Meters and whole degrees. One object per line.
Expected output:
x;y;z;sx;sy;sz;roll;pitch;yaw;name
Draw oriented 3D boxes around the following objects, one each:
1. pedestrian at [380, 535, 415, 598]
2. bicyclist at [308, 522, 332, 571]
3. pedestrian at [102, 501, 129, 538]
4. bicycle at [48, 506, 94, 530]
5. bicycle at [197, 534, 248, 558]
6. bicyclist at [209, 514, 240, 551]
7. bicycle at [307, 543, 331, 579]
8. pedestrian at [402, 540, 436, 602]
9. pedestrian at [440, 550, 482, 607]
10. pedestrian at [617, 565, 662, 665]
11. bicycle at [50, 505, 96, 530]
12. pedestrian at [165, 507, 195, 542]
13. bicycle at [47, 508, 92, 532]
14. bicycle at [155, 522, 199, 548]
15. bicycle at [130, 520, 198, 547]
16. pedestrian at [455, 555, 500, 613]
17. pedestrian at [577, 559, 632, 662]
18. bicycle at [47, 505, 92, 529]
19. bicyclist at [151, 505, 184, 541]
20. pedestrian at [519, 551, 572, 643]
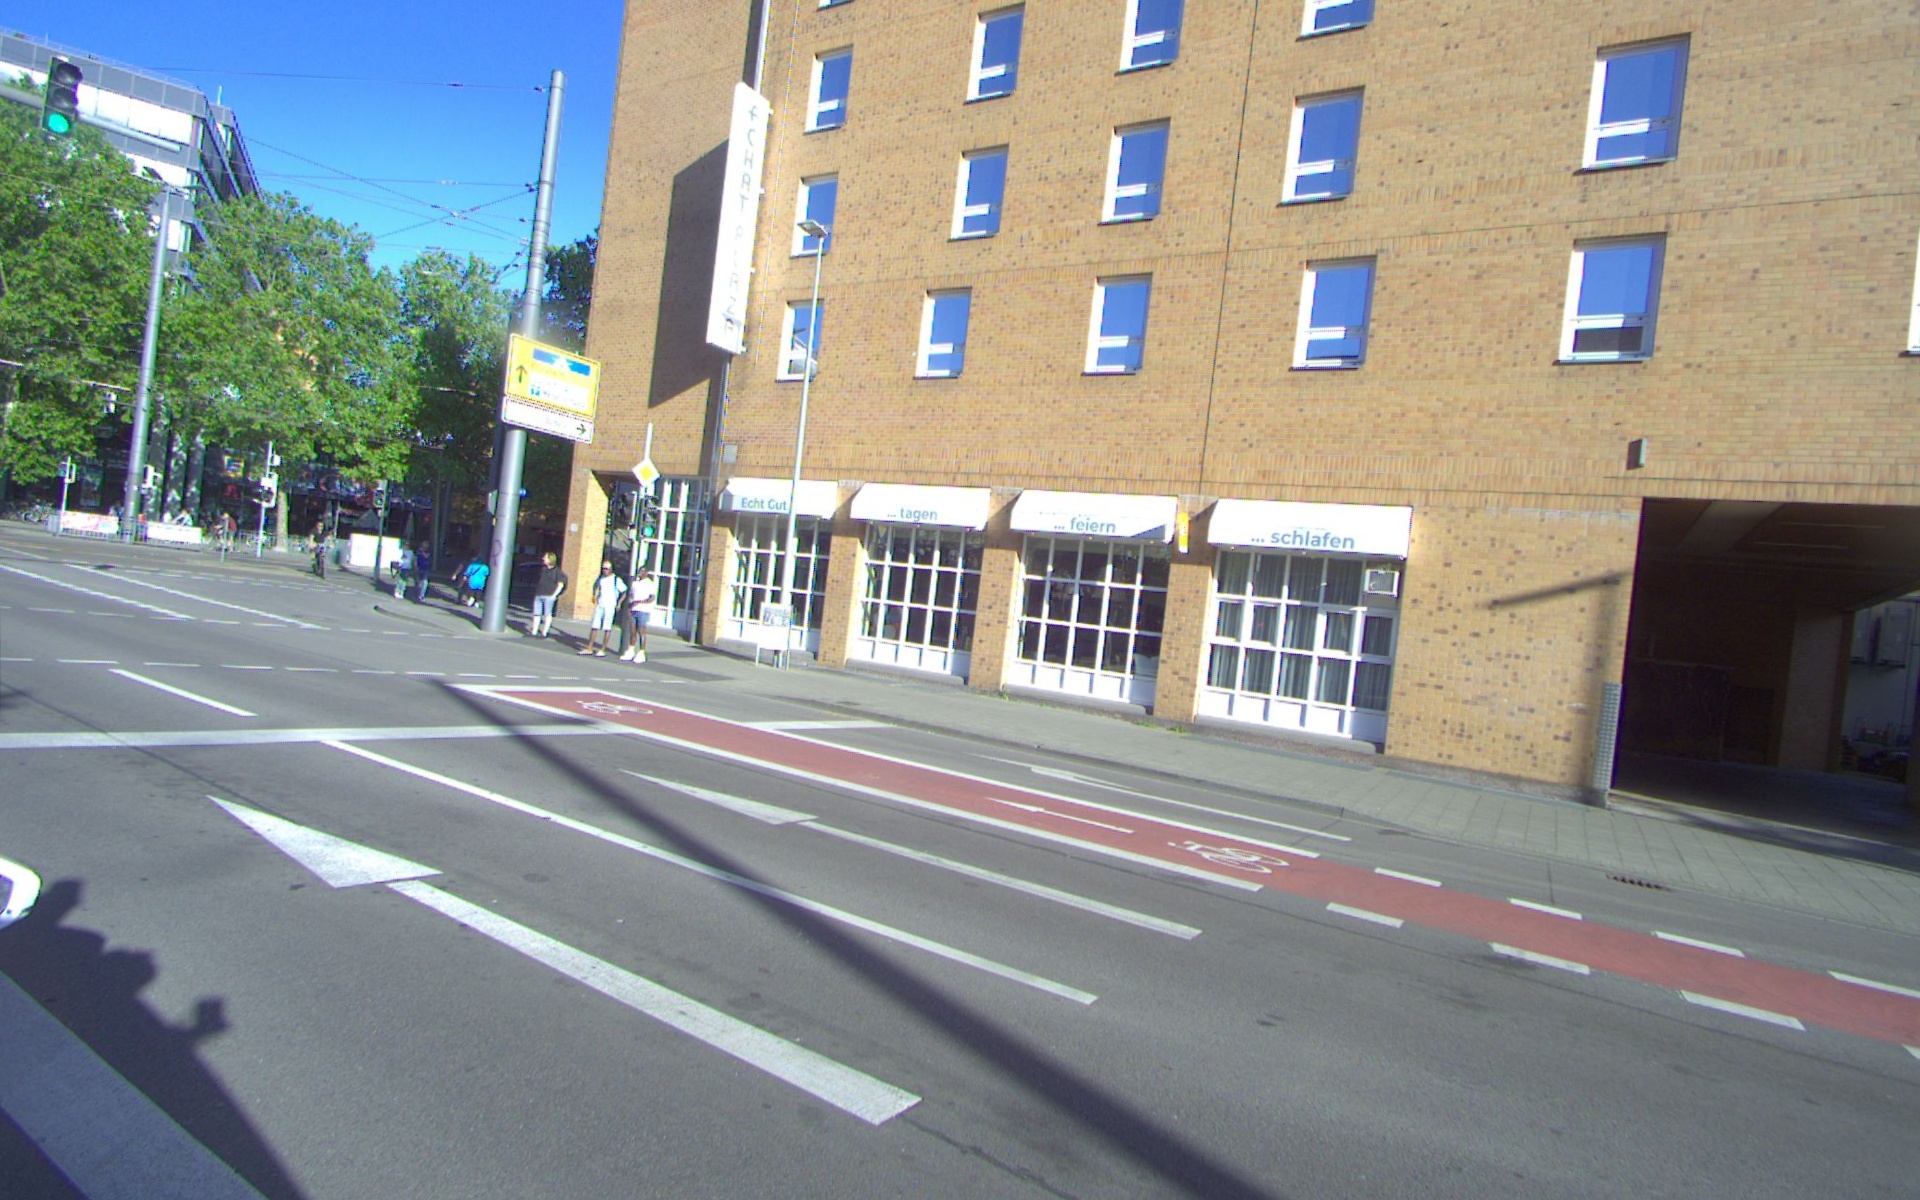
-16.296;-0.952;29.152;0.555;1.723;0.657;7;-1;-17;pedestrian
-20.996;-1.764;33.009;0.574;1.536;0.841;3;5;-34;bicyclist
-45.646;-4.350;54.364;0.845;1.873;0.799;10;-2;-44;pedestrian
-46.027;-4.247;52.090;1.700;0.998;0.386;7;0;-45;bicycle
-36.343;-2.668;49.587;0.642;0.921;1.854;7;-1;36;bicycle
-36.239;-3.327;49.581;0.627;1.635;0.926;7;0;35;bicyclist
-21.028;-1.287;32.977;0.596;1.065;1.863;2;4;-34;bicycle
-15.837;-0.843;29.467;0.595;1.747;0.600;7;-1;-18;pedestrian
-14.764;-0.631;29.772;0.729;1.557;0.652;7;-1;24;pedestrian
-5.965;0.279;18.751;0.568;1.797;0.405;5;2;-3;pedestrian
-45.408;-4.219;51.508;1.700;0.998;0.386;7;0;-45;bicycle
-40.046;-3.862;51.665;0.759;1.612;0.837;7;-1;-8;pedestrian
-46.679;-4.202;52.756;1.700;0.998;0.386;7;0;-45;bicycle
-40.101;-3.326;51.555;0.778;1.064;1.922;7;-2;-7;bicycle
-47.891;-3.993;60.560;0.821;1.126;3.044;7;-1;33;bicycle
-13.982;-0.448;29.157;0.729;1.557;0.677;7;-1;24;pedestrian
-6.698;0.190;18.953;0.719;1.857;0.497;6;2;-3;pedestrian
-46.978;-4.386;53.103;1.700;0.998;0.386;7;0;-45;bicycle
-47.761;-4.607;60.612;0.821;1.955;1.228;7;0;33;bicyclist
-8.555;-0.067;20.781;0.683;1.789;0.573;8;0;-9;pedestrian
